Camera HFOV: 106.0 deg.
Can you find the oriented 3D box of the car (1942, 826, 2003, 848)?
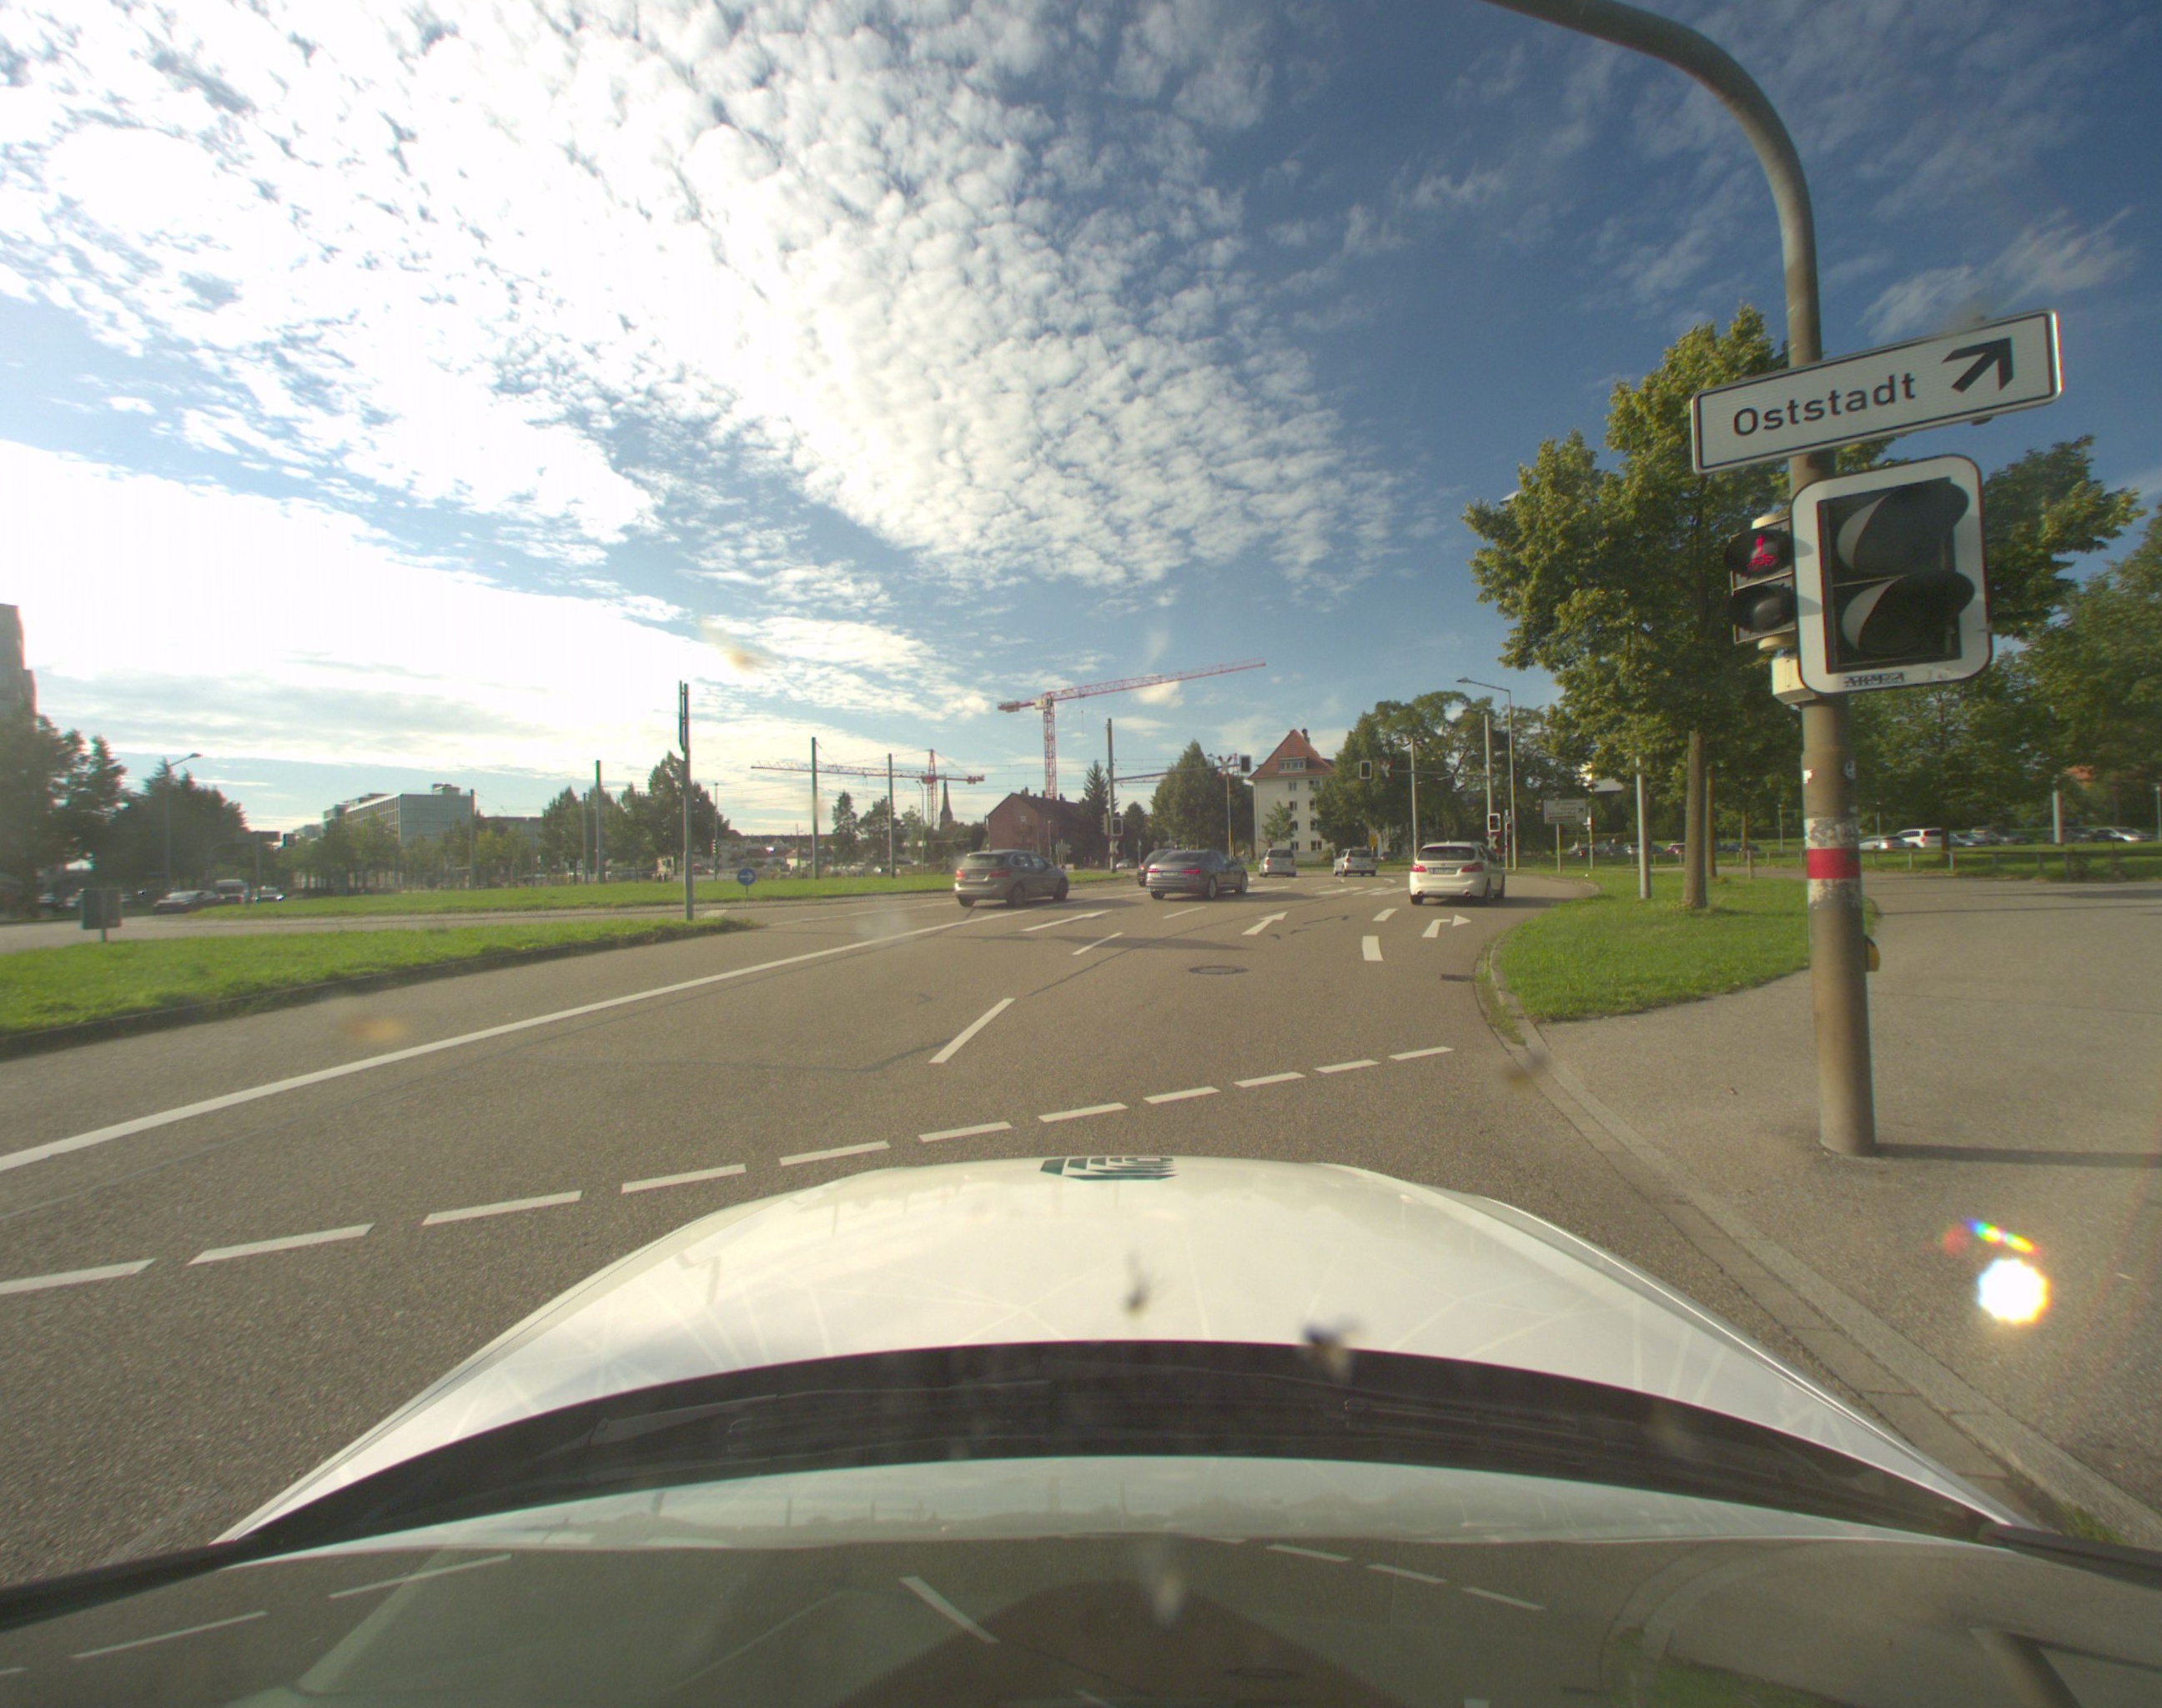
[{"bbox_3d":[74.047,-1.400,67.729,2.076,1.674,4.497,-2,-1,29],"label":"car"}]

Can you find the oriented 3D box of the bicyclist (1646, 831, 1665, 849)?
[{"bbox_3d":[45.205,-1.107,64.116,1.002,1.355,0.712,-2,-1,-10],"label":"bicyclist"}]

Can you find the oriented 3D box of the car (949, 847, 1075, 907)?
[{"bbox_3d":[-1.876,0.623,23.372,1.751,1.572,4.091,-1,-1,25],"label":"car"}]

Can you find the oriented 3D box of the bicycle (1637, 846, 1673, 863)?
[{"bbox_3d":[45.080,0.047,63.998,2.521,1.222,0.712,-2,-1,-11],"label":"bicycle"}]

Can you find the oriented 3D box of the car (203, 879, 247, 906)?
[{"bbox_3d":[-81.307,3.649,77.424,2.077,2.263,5.952,-4,0,-40],"label":"car"}]

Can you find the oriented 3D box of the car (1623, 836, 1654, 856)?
[{"bbox_3d":[58.714,-0.839,85.864,1.855,2.014,4.837,0,-1,24],"label":"car"}]

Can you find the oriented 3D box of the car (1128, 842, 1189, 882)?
[{"bbox_3d":[3.246,0.350,33.597,1.980,1.541,4.014,0,-1,13],"label":"car"}]

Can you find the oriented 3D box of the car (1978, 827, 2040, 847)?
[{"bbox_3d":[76.043,-1.389,66.818,2.011,1.515,4.137,-2,-1,29],"label":"car"}]

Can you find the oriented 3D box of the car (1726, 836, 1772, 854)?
[{"bbox_3d":[59.726,-0.784,72.874,1.839,1.515,4.492,-2,-1,21],"label":"car"}]

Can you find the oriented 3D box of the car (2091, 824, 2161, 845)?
[{"bbox_3d":[82.647,-1.517,64.275,1.838,1.504,4.495,-2,-1,25],"label":"car"}]

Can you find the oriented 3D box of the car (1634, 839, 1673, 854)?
[{"bbox_3d":[52.980,-0.677,75.456,1.839,1.358,4.859,-2,-1,21],"label":"car"}]

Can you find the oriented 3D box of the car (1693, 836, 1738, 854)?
[{"bbox_3d":[57.223,-0.812,73.547,1.839,1.515,4.971,-2,-1,21],"label":"car"}]

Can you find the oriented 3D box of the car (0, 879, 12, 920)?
[{"bbox_3d":[-48.347,2.073,34.283,1.685,1.824,4.533,-4,0,-18],"label":"car"}]

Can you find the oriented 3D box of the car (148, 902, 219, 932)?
[{"bbox_3d":[-54.283,3.760,49.331,1.691,1.501,3.955,-4,0,-31],"label":"car"}]

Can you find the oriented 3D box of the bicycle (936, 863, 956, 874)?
[{"bbox_3d":[-15.136,1.583,91.421,2.136,1.137,0.772,-3,0,-1],"label":"bicycle"}]

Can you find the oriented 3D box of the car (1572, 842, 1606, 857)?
[{"bbox_3d":[47.901,-0.399,76.806,1.839,1.359,4.758,-2,-1,21],"label":"car"}]

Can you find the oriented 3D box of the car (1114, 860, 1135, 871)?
[{"bbox_3d":[6.694,1.753,126.155,1.880,1.543,4.685,-1,-1,21],"label":"car"}]

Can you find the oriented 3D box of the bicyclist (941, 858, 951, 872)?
[{"bbox_3d":[-15.160,1.240,91.425,0.954,1.575,0.772,-3,0,-1],"label":"bicyclist"}]

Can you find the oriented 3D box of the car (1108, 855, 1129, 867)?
[{"bbox_3d":[6.024,1.154,130.453,1.879,1.903,4.685,-1,-1,21],"label":"car"}]

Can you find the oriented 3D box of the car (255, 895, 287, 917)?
[{"bbox_3d":[-63.470,4.044,63.787,3.944,1.501,1.696,-3,0,45],"label":"car"}]

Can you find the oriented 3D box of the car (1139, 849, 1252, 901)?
[{"bbox_3d":[3.616,0.579,24.997,1.833,1.445,4.744,-1,0,29],"label":"car"}]

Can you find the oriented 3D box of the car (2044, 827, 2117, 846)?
[{"bbox_3d":[80.196,-1.391,65.434,1.838,1.399,4.495,-2,-1,25],"label":"car"}]

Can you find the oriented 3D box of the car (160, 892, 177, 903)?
[{"bbox_3d":[-173.151,8.194,154.527,3.948,2.013,2.013,-2,0,39],"label":"car"}]

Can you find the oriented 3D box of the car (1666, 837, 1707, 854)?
[{"bbox_3d":[55.305,-0.760,74.455,1.839,1.363,4.492,-2,-1,21],"label":"car"}]

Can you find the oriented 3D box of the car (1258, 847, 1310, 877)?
[{"bbox_3d":[10.899,0.424,43.440,1.833,1.478,4.480,-1,-1,25],"label":"car"}]

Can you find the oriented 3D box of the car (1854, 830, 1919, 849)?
[{"bbox_3d":[68.438,-1.211,69.307,1.842,1.515,4.486,-2,-1,14],"label":"car"}]

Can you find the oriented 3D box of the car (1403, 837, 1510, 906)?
[{"bbox_3d":[9.803,0.421,21.039,1.832,1.572,4.483,-1,-1,33],"label":"car"}]

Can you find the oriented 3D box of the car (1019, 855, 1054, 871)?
[{"bbox_3d":[-5.430,1.104,100.318,1.877,1.903,4.690,-1,-1,32],"label":"car"}]

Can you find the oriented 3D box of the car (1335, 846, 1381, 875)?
[{"bbox_3d":[14.576,0.333,42.998,1.838,1.426,4.470,-1,-1,13],"label":"car"}]

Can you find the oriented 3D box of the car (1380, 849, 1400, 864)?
[{"bbox_3d":[31.376,0.258,82.701,1.839,1.381,4.539,-2,-1,21],"label":"car"}]

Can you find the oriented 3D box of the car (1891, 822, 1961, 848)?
[{"bbox_3d":[71.116,-1.534,68.623,2.288,2.007,5.142,-2,-1,24],"label":"car"}]
